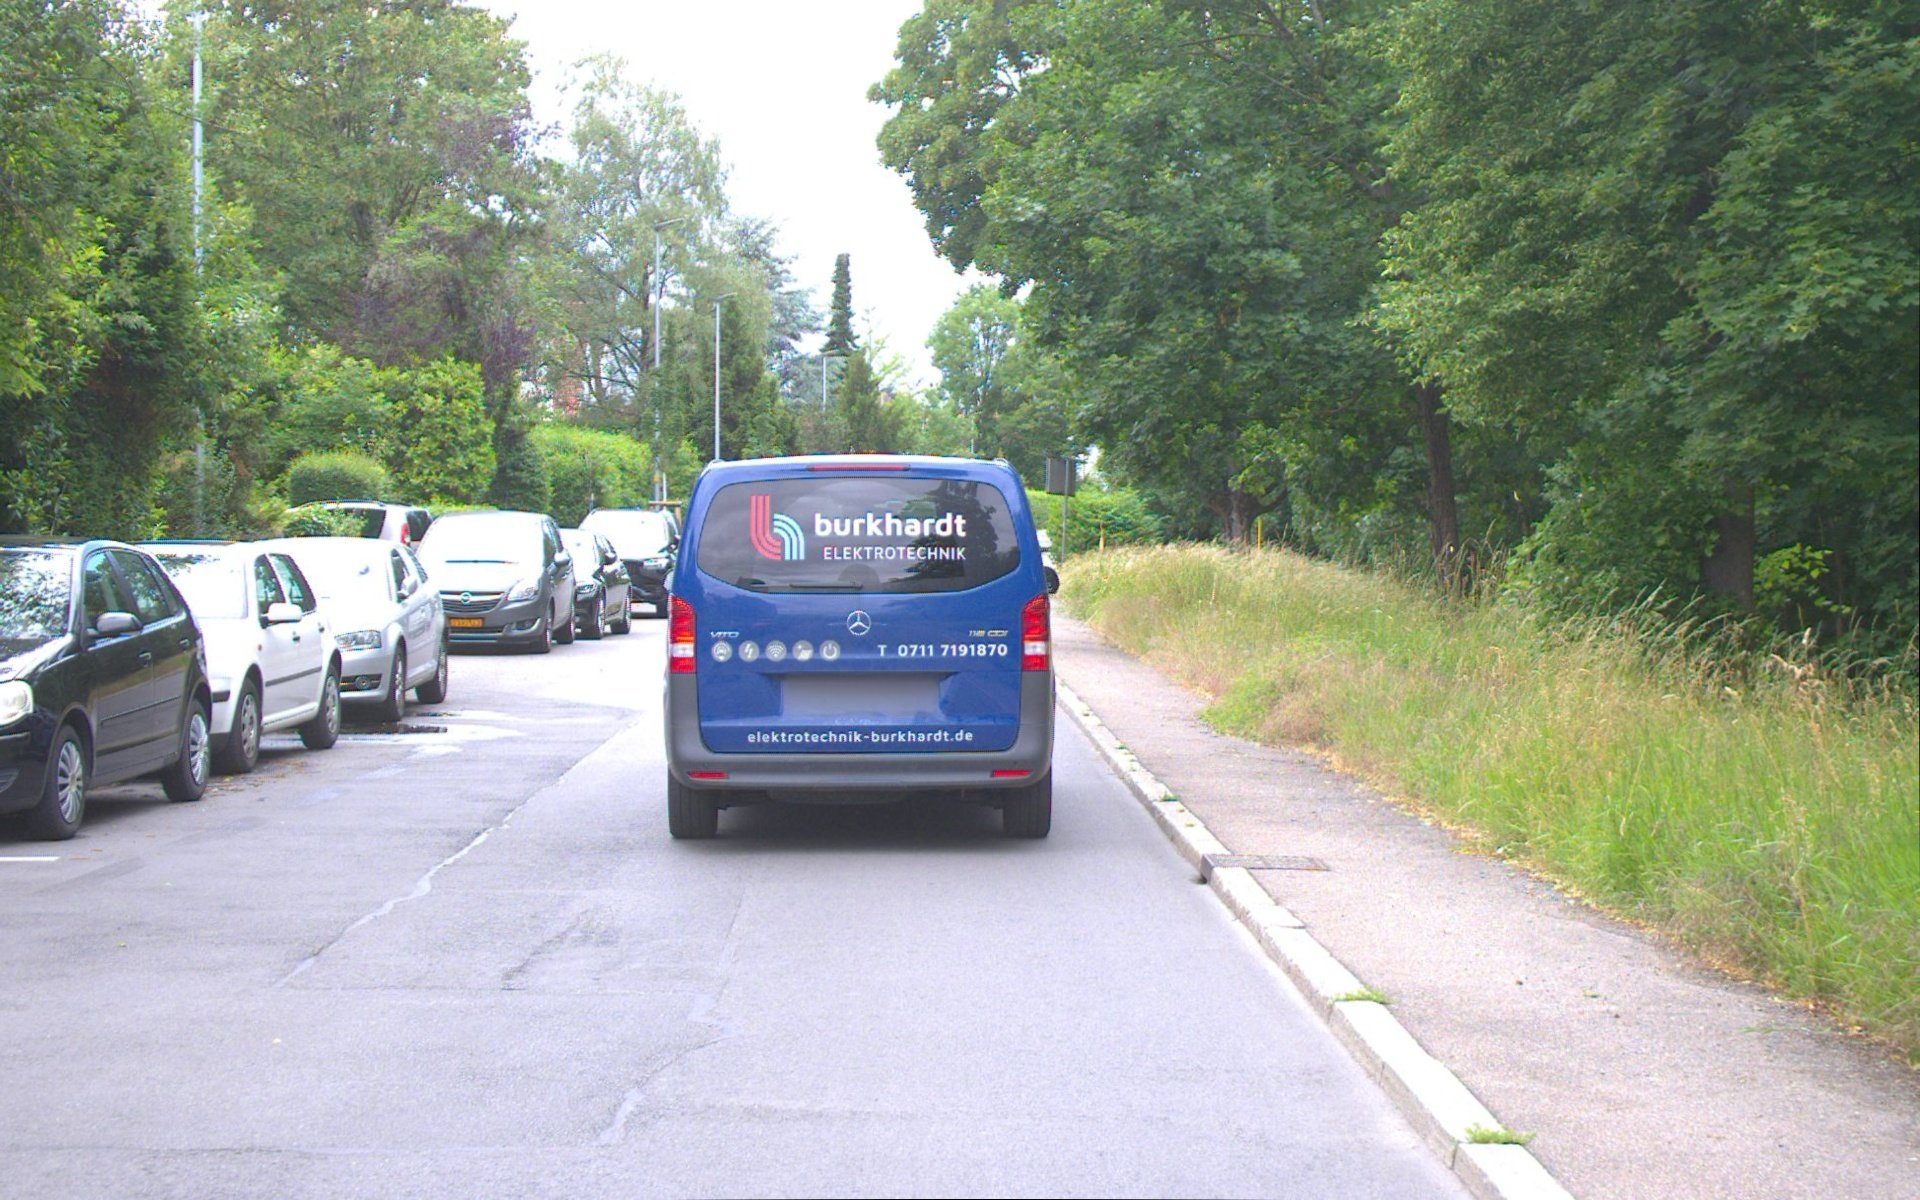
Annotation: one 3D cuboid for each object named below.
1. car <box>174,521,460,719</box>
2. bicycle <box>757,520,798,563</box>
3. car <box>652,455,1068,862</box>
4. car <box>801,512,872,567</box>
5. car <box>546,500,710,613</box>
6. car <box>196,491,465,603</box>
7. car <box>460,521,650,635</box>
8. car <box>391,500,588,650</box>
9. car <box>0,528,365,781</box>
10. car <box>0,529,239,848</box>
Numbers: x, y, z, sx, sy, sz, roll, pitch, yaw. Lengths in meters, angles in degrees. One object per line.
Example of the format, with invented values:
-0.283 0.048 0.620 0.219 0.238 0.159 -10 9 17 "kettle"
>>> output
-5.160 0.104 28.042 1.623 1.445 4.094 1 2 -1 "car"
-5.564 -1.782 104.983 0.906 1.247 2.916 3 1 3 "bicycle"
-0.581 0.183 17.756 1.888 1.837 4.001 -1 3 -4 "car"
-3.853 -1.899 107.839 1.836 1.625 4.300 2 1 3 "car"
-5.408 -0.750 56.599 1.974 1.731 5.189 1 1 2 "car"
-9.823 -0.832 53.728 3.694 1.632 1.827 2 1 13 "car"
-5.342 -0.334 45.879 1.754 1.408 4.898 1 1 2 "car"
-5.467 -0.335 40.428 1.731 1.626 4.569 1 1 -1 "car"
-5.106 0.277 22.428 1.659 1.447 4.382 0 2 0 "car"
-4.991 0.370 17.708 1.623 1.445 3.969 0 1 1 "car"
